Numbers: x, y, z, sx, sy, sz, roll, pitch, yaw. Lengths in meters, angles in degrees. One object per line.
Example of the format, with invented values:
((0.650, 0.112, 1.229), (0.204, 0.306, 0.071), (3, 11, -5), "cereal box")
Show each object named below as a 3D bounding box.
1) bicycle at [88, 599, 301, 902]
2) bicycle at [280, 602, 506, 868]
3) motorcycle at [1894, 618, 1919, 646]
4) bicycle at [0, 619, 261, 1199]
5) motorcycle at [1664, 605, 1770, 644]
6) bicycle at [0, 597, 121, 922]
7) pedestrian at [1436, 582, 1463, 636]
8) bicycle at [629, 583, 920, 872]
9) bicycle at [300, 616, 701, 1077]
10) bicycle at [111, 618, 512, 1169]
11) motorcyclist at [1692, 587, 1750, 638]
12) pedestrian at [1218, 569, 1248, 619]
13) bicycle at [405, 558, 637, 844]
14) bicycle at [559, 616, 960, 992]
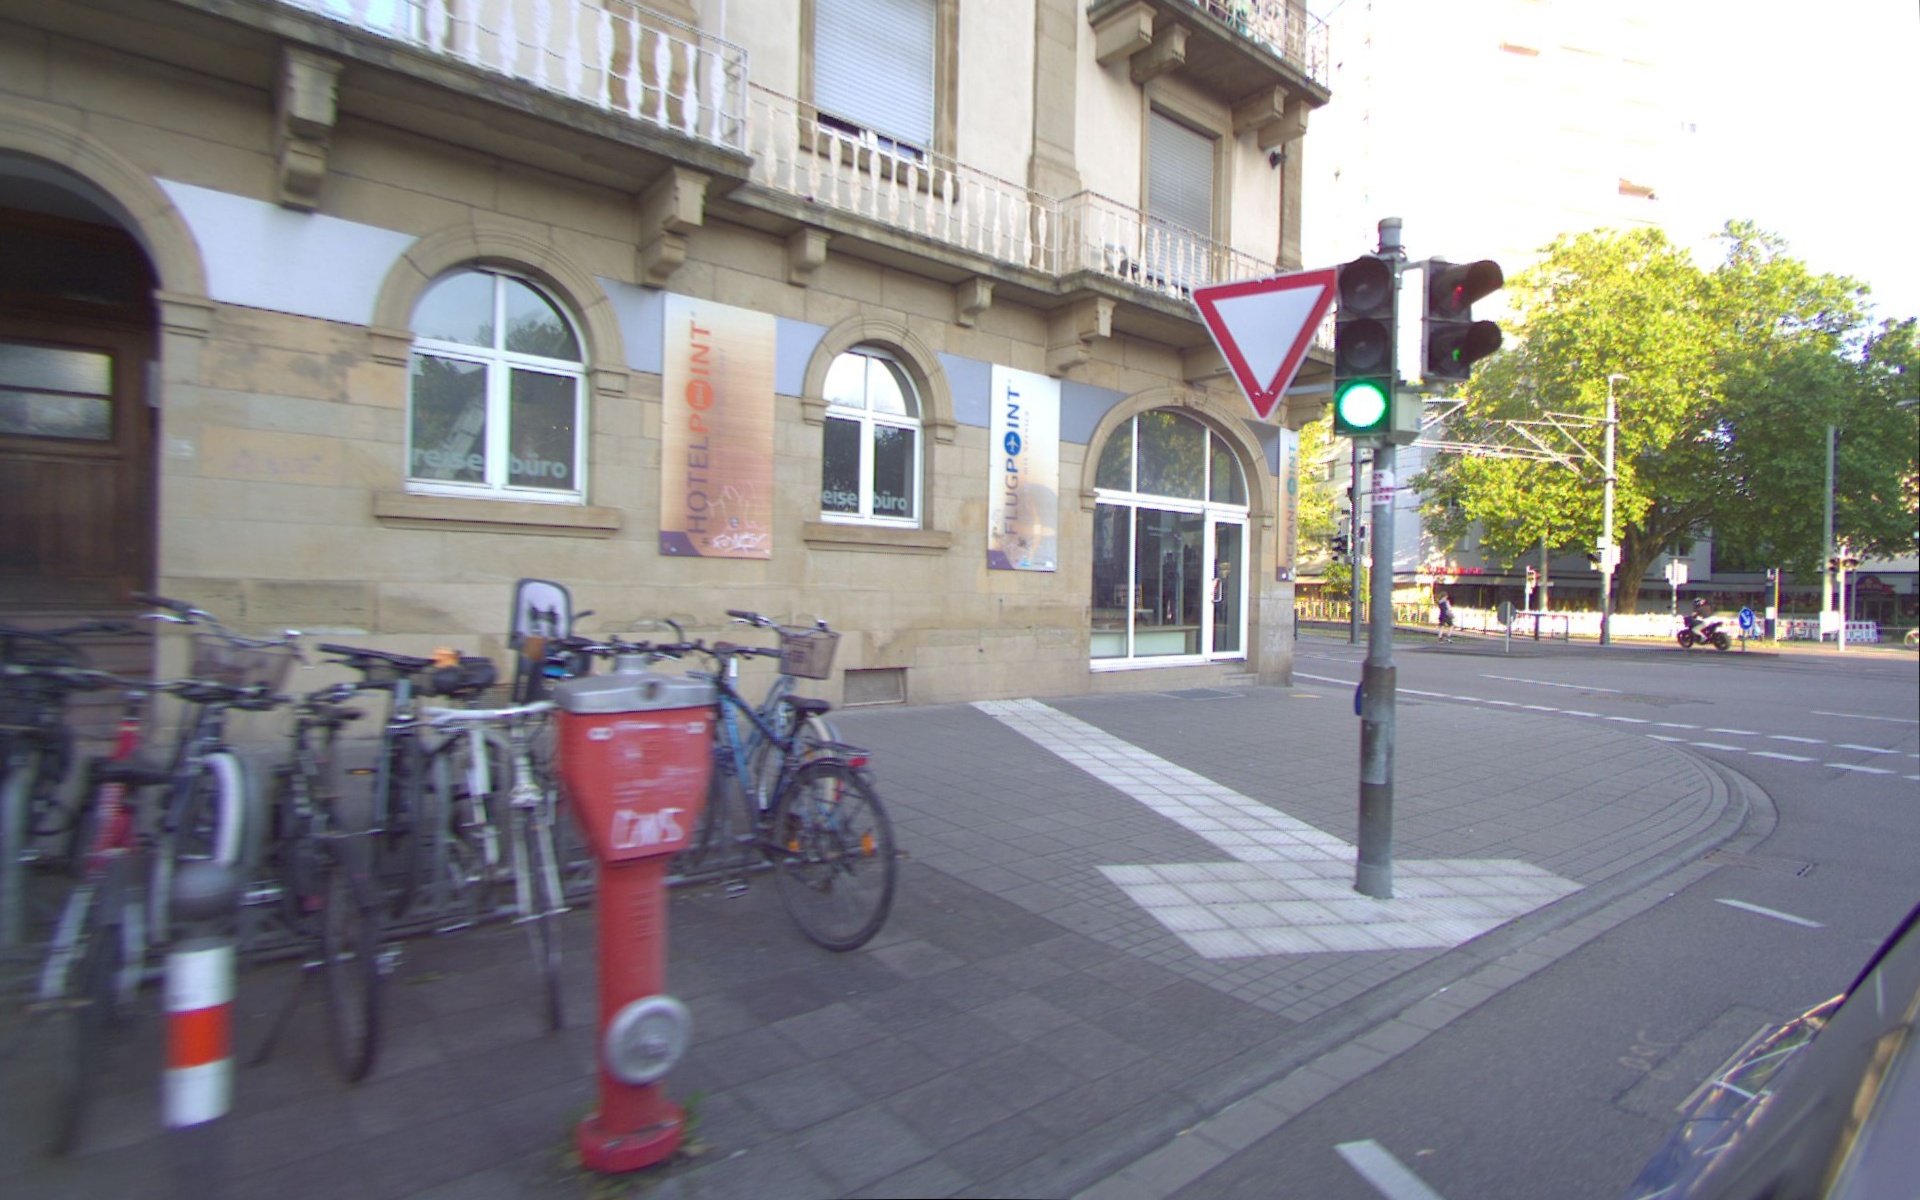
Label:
((-3.547, 0.569, 4.626), (0.533, 1.022, 1.774), (1, 3, -45), "bicycle")
((-2.946, 0.585, 5.167), (0.533, 1.022, 1.774), (1, 3, -45), "bicycle")
((33.776, 1.133, 34.860), (2.261, 0.934, 0.617), (1, 0, 25), "motorcycle")
((-2.517, 0.687, 2.766), (1.995, 1.101, 0.533), (5, 3, 42), "bicycle")
((24.316, 0.776, 32.597), (0.890, 1.144, 2.812), (1, 0, -12), "motorcycle")
((-3.937, 0.557, 4.199), (0.533, 1.022, 1.774), (1, 3, -45), "bicycle")
((15.551, 0.273, 32.150), (0.652, 1.677, 0.540), (1, 0, 16), "pedestrian")
((-1.100, 0.567, 5.544), (0.635, 1.215, 2.001), (1, 3, -40), "bicycle")
((-1.744, 0.690, 3.631), (1.995, 1.101, 0.533), (5, 3, 42), "bicycle")
((-2.135, 0.691, 3.182), (1.995, 1.101, 0.533), (5, 3, 42), "bicycle")
((24.368, 0.393, 32.424), (0.889, 1.574, 1.159), (1, 0, -12), "motorcyclist")
((10.217, -0.224, 37.895), (0.772, 1.839, 0.713), (1, 0, -16), "pedestrian")
((-2.484, 0.456, 5.605), (0.533, 1.289, 1.774), (1, 3, -45), "bicycle")
((-0.941, 0.701, 4.264), (1.995, 1.101, 0.533), (5, 3, 42), "bicycle")
